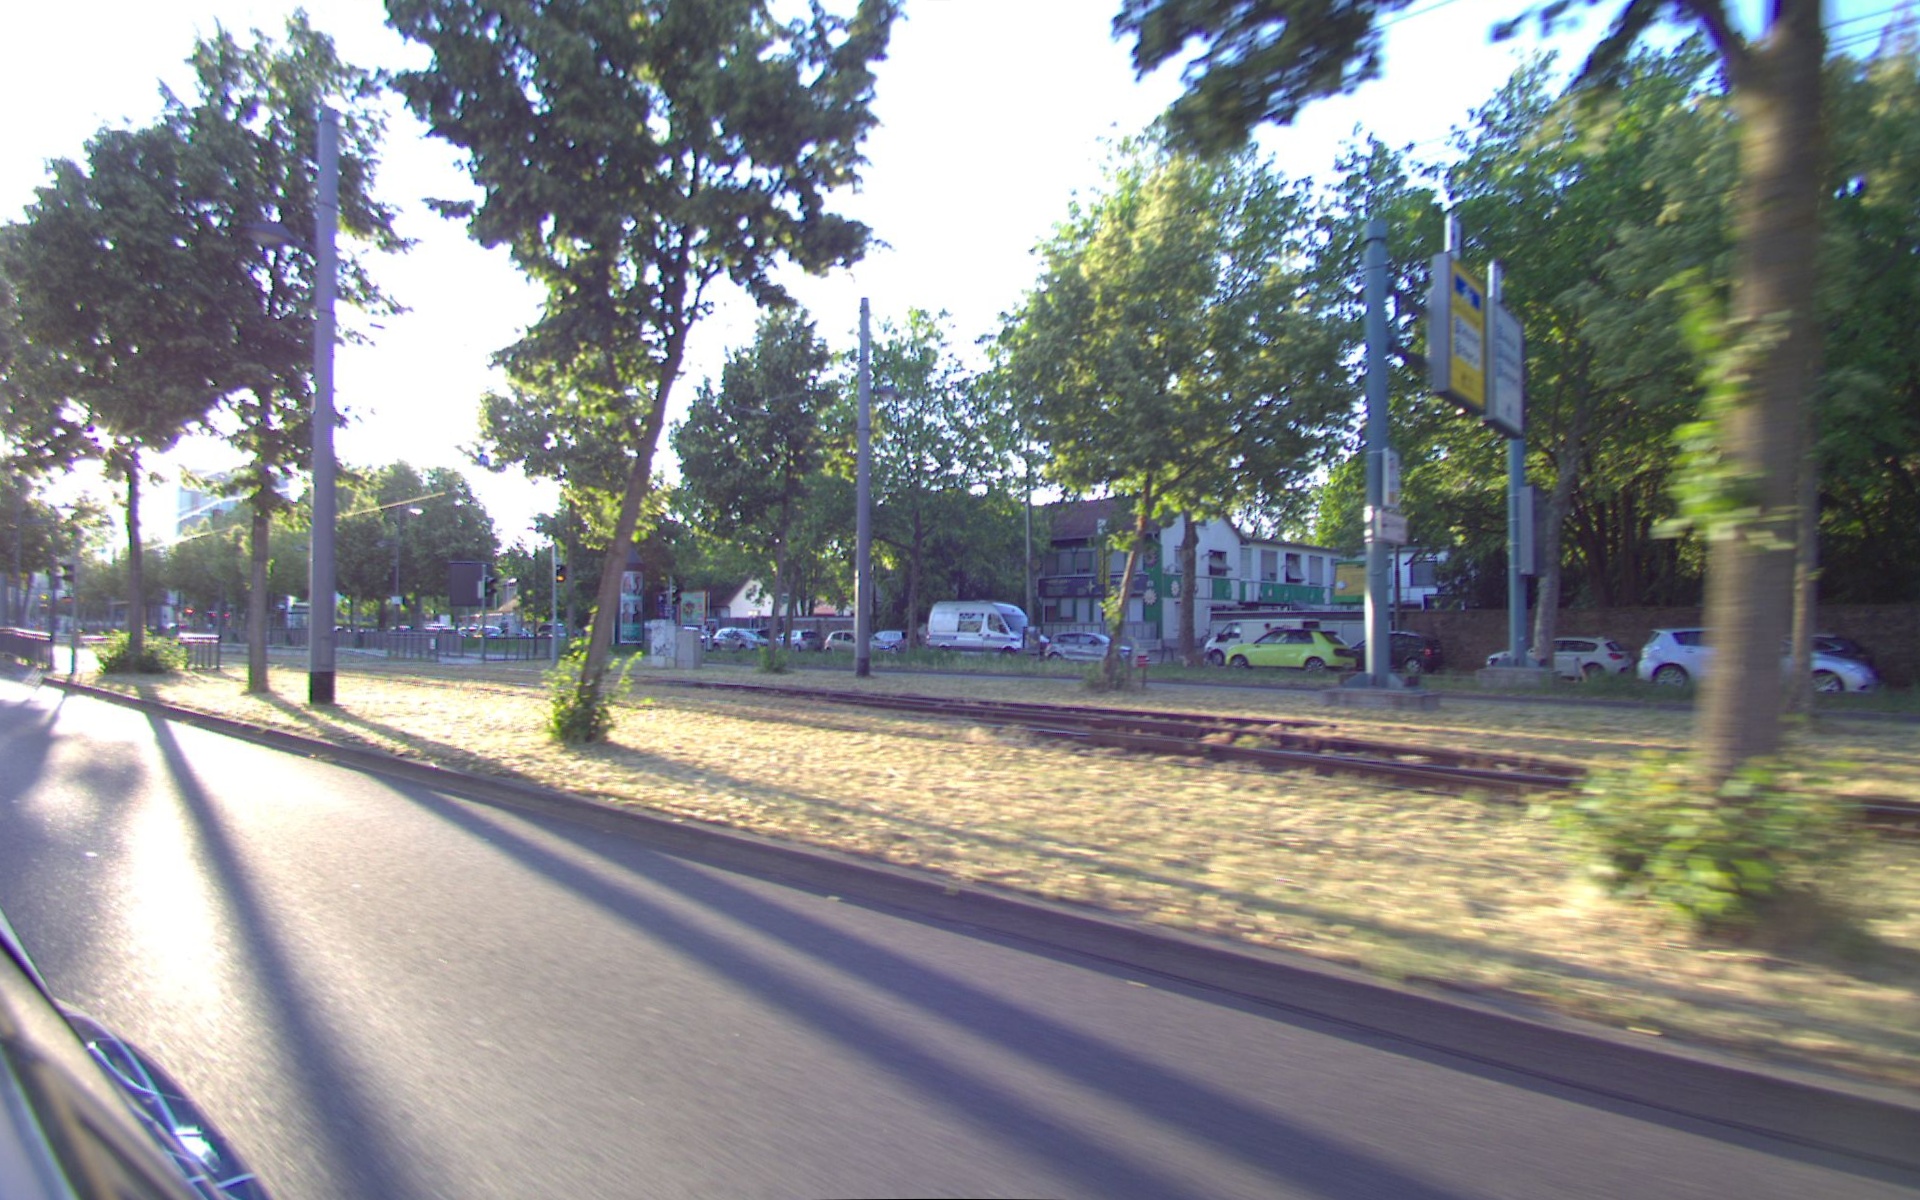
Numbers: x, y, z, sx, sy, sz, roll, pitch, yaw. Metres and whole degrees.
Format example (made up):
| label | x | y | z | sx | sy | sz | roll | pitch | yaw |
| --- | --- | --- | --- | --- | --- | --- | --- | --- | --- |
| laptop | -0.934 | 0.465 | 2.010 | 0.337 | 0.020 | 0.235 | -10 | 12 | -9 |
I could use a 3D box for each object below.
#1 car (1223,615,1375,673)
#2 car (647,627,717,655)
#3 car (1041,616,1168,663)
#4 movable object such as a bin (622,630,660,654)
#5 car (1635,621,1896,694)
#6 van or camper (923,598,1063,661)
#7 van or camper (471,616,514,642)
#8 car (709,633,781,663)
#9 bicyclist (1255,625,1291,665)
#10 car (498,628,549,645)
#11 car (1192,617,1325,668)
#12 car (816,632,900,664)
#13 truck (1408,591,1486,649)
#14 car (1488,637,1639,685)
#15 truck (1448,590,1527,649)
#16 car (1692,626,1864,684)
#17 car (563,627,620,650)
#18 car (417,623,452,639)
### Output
| label | x | y | z | sx | sy | sz | roll | pitch | yaw |
| --- | --- | --- | --- | --- | --- | --- | --- | --- | --- |
| car | 10.452 | 1.333 | 31.343 | 3.999 | 1.652 | 1.972 | -2 | -2 | 42 |
| car | -16.127 | 2.350 | 58.626 | 4.298 | 1.512 | 1.972 | -2 | -2 | 43 |
| car | 5.238 | 1.425 | 37.039 | 4.205 | 1.649 | 1.973 | -1 | -2 | 40 |
| movable object such as a bin | -19.255 | 2.522 | 61.095 | 1.724 | 1.383 | 1.536 | -2 | -2 | 42 |
| car | 18.489 | 1.262 | 23.398 | 4.556 | 1.510 | 1.972 | -1 | -2 | 42 |
| van or camper | 1.257 | 1.208 | 41.371 | 2.257 | 2.383 | 5.786 | 1 | -2 | -44 |
| van or camper | -48.394 | 2.999 | 104.647 | 2.363 | 2.583 | 5.638 | 2 | -2 | -43 |
| car | -11.509 | 2.517 | 54.049 | 4.053 | 1.543 | 1.790 | -2 | -2 | 43 |
| bicyclist | 12.169 | 1.742 | 39.353 | 0.719 | 1.545 | 1.086 | 2 | -3 | -43 |
| car | -32.620 | 2.737 | 75.608 | 4.089 | 1.210 | 1.972 | -2 | -2 | 43 |
| car | 12.494 | 1.769 | 42.586 | 5.060 | 2.029 | 1.971 | -2 | -2 | 45 |
| car | -5.115 | 2.380 | 50.575 | 4.098 | 1.512 | 1.972 | -1 | -2 | 43 |
| truck | 31.671 | 1.321 | 65.707 | 6.591 | 3.546 | 2.293 | 1 | -3 | -43 |
| car | 20.375 | 2.010 | 34.252 | 4.051 | 1.503 | 1.839 | -2 | -3 | 44 |
| truck | 33.281 | 1.244 | 63.749 | 6.591 | 3.546 | 2.293 | 1 | -3 | -43 |
| car | 24.335 | 1.599 | 30.184 | 3.839 | 1.608 | 1.746 | -2 | -3 | 44 |
| car | -24.425 | 2.553 | 67.070 | 4.000 | 1.459 | 1.972 | -2 | -2 | 43 |
| car | -50.668 | 3.002 | 97.599 | 1.970 | 1.542 | 4.003 | 1 | -2 | -44 |
